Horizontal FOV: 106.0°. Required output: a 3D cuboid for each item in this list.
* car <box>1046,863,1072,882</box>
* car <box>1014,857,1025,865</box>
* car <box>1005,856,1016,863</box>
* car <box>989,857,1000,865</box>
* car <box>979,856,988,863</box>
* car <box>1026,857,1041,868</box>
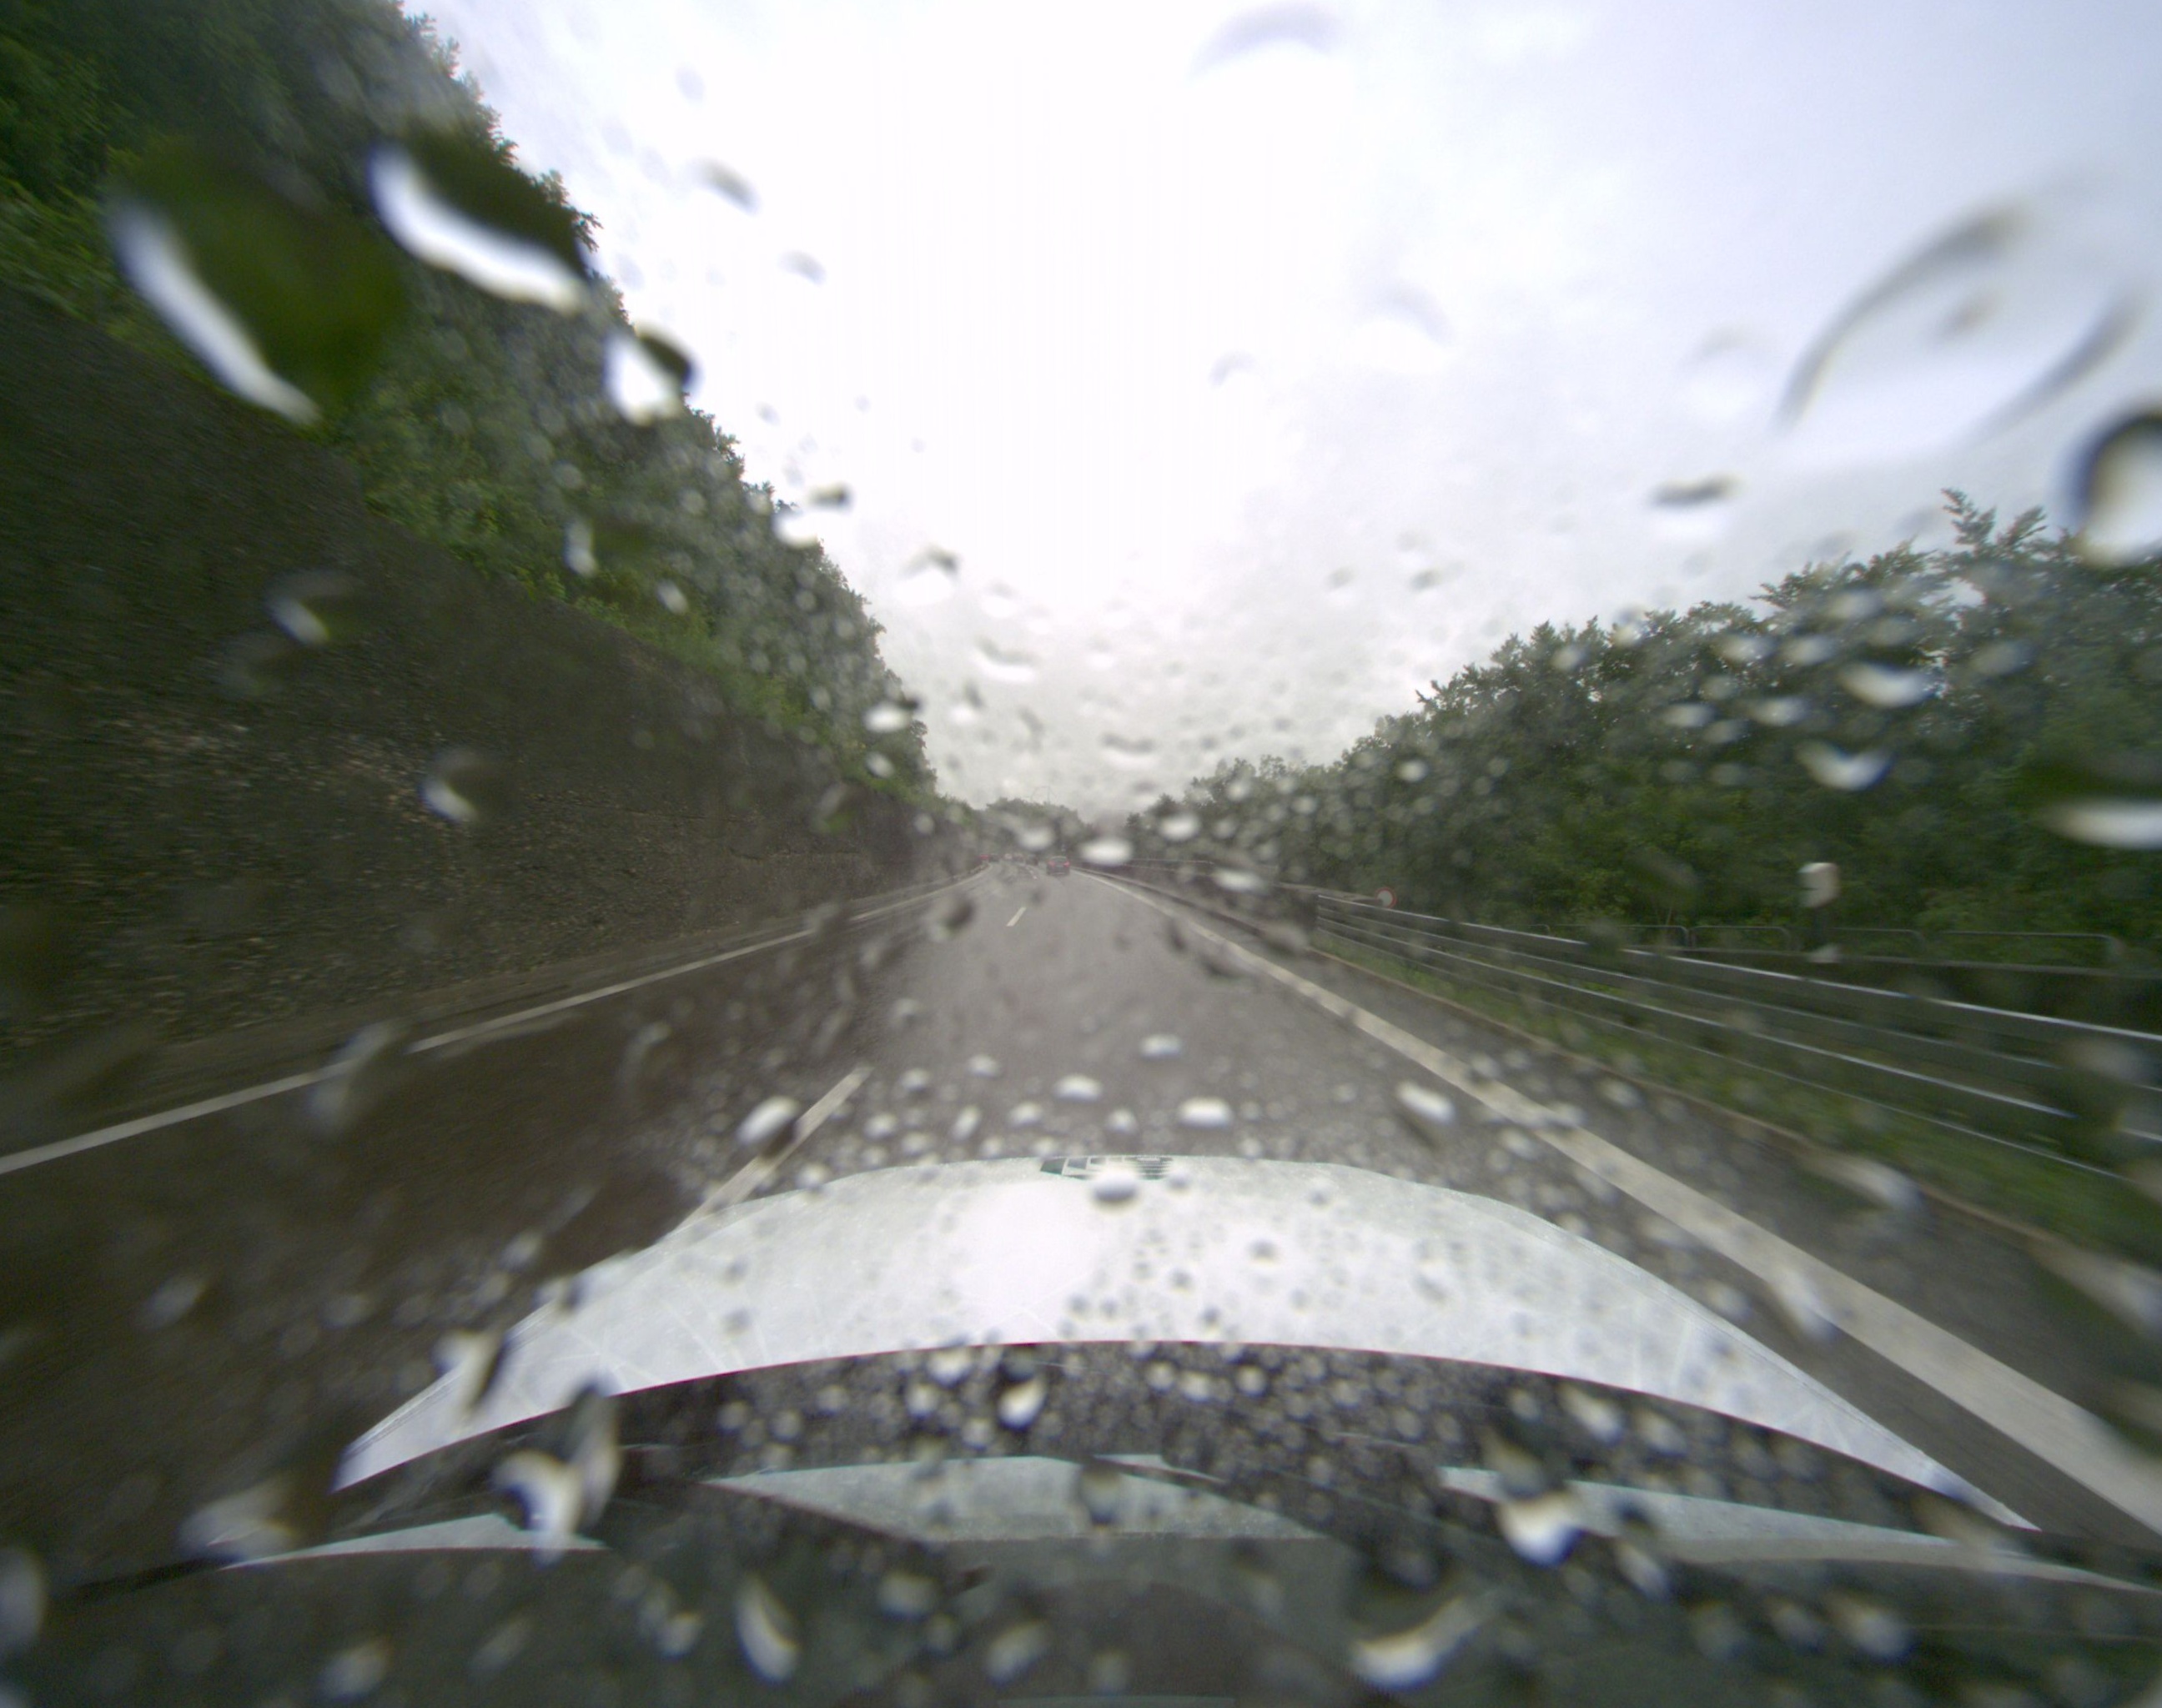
[{"bbox_3d":[-1.803,1.467,65.847,1.900,1.499,3.993,0,0,-5],"label":"car"},{"bbox_3d":[-11.291,1.260,148.312,1.901,1.499,3.992,0,0,-6],"label":"car"},{"bbox_3d":[-14.439,1.087,167.135,1.904,1.499,3.986,0,0,-10],"label":"car"},{"bbox_3d":[-15.438,1.276,145.791,1.901,1.499,3.992,0,0,-6],"label":"car"},{"bbox_3d":[-20.832,1.074,173.694,1.902,1.499,3.989,0,0,-8],"label":"car"},{"bbox_3d":[-7.016,1.249,119.575,1.902,1.499,3.989,0,0,-8],"label":"car"}]
